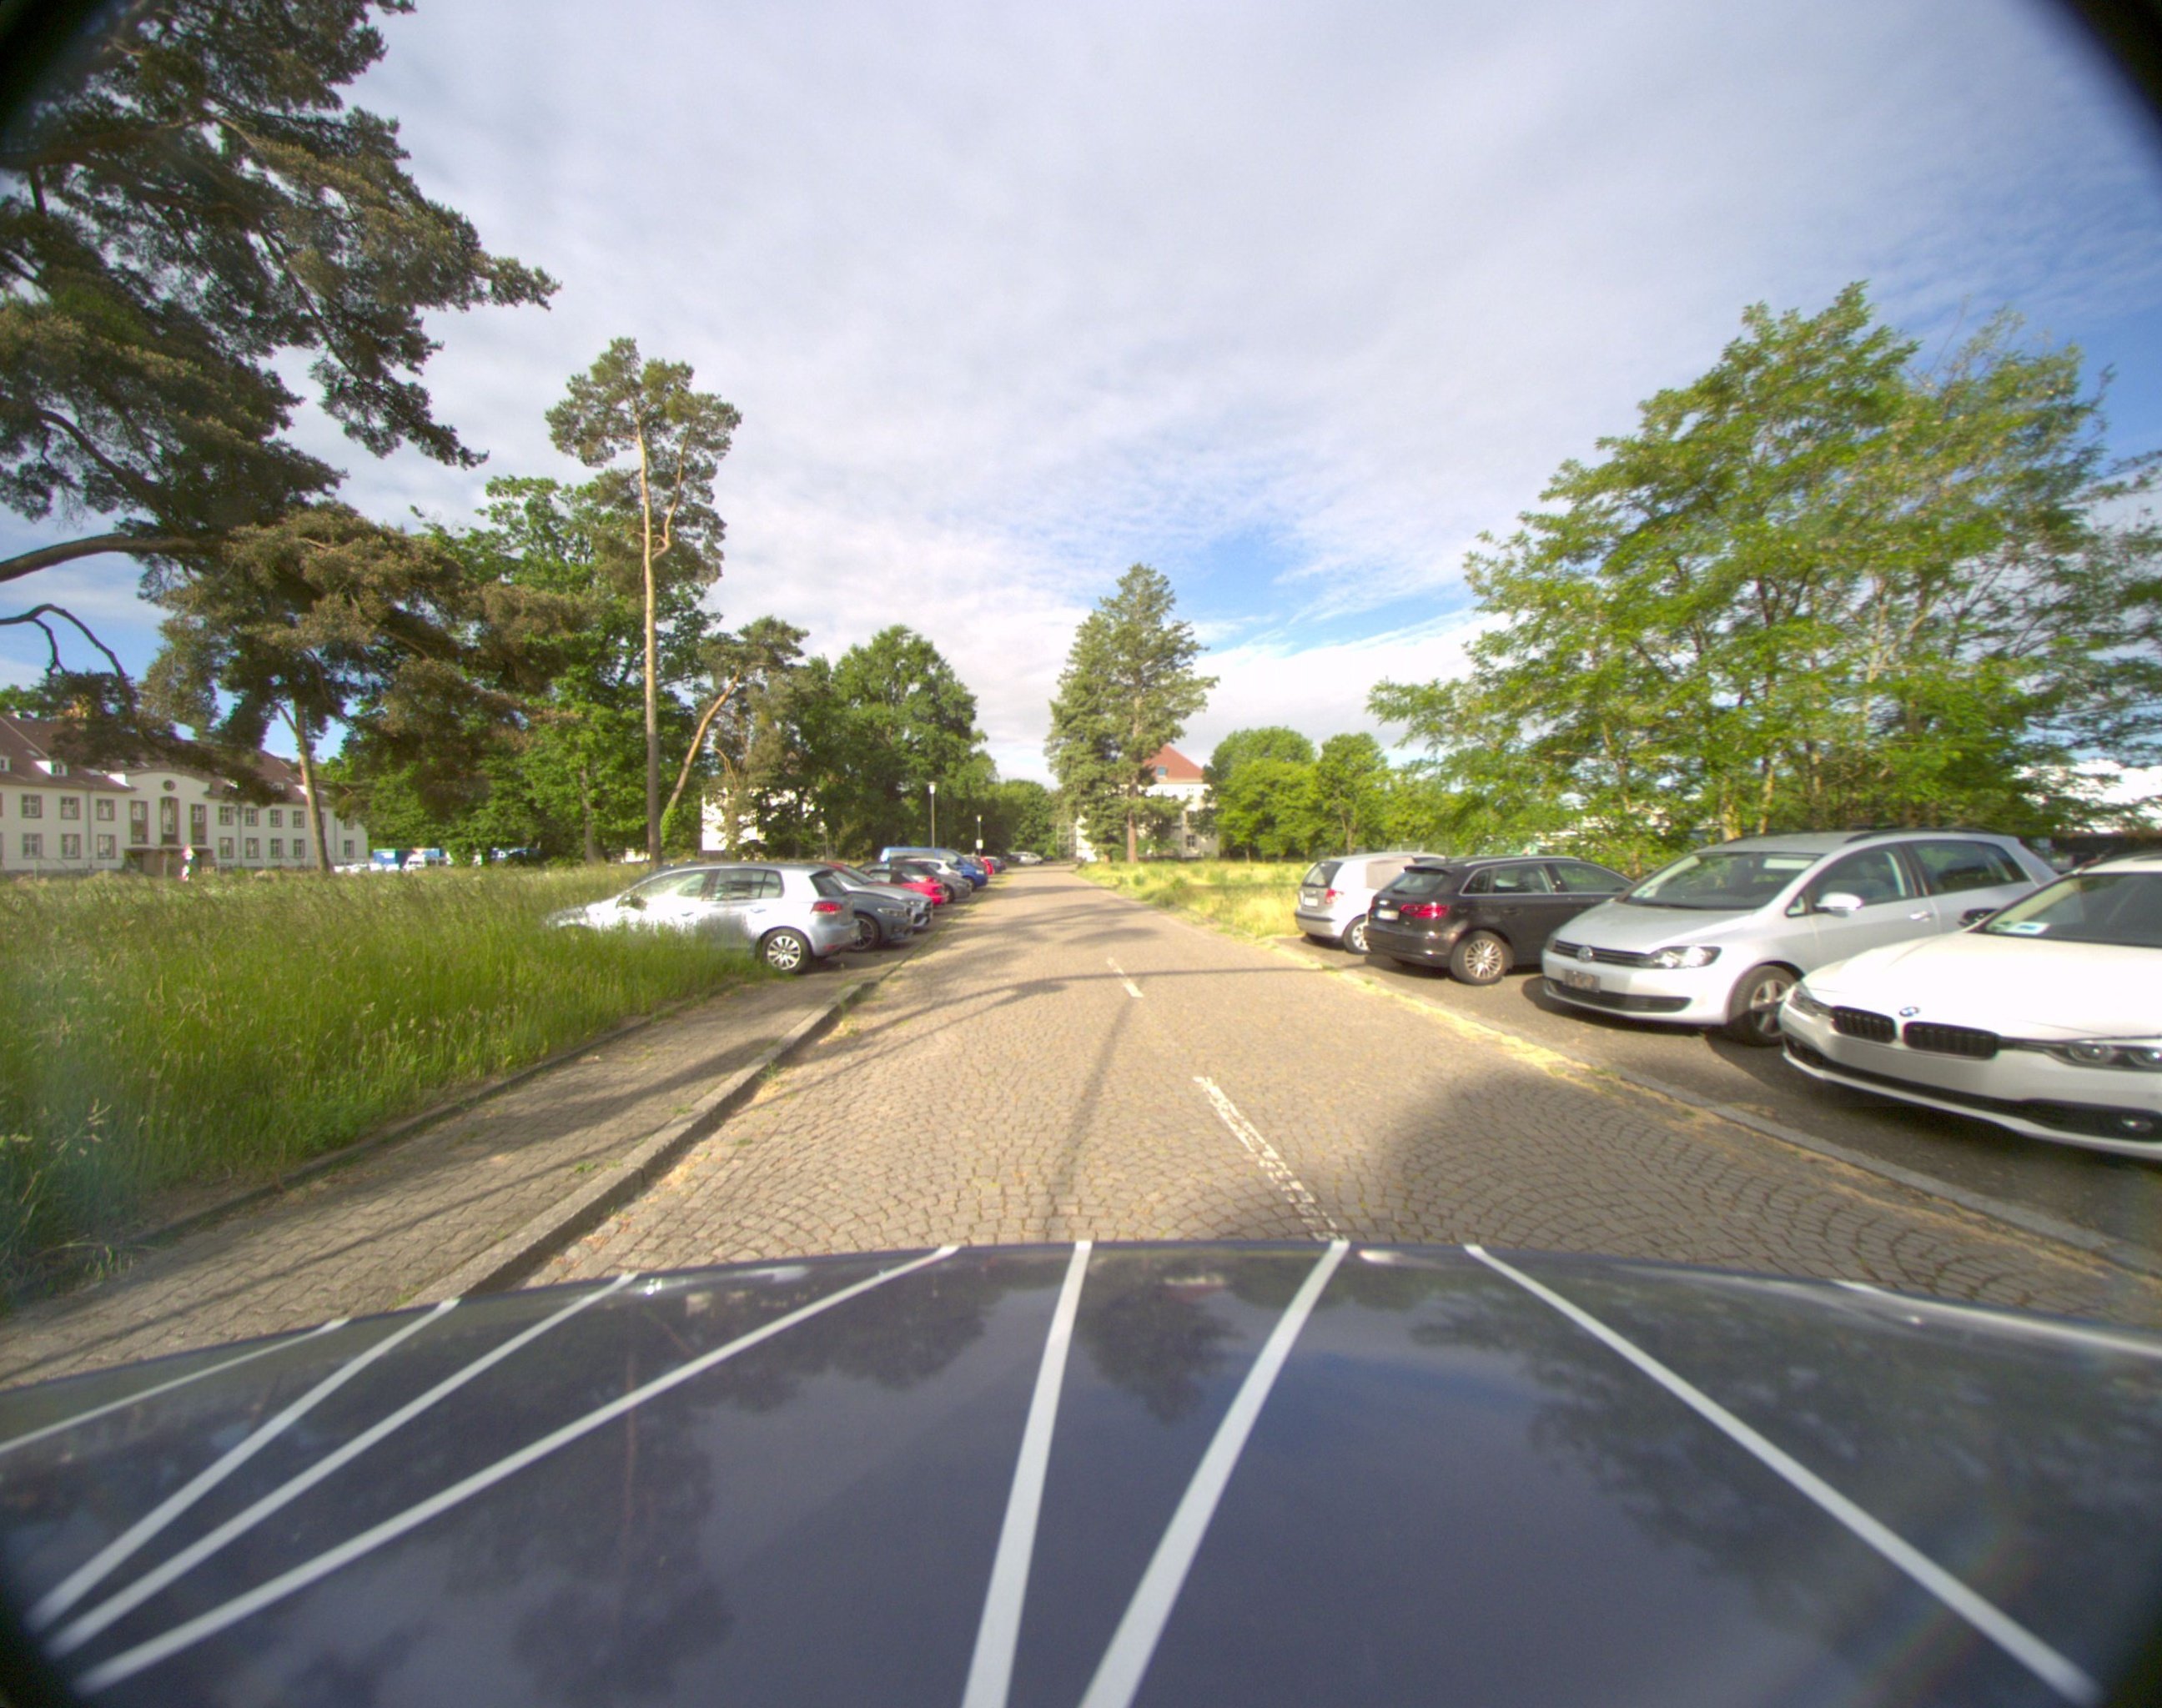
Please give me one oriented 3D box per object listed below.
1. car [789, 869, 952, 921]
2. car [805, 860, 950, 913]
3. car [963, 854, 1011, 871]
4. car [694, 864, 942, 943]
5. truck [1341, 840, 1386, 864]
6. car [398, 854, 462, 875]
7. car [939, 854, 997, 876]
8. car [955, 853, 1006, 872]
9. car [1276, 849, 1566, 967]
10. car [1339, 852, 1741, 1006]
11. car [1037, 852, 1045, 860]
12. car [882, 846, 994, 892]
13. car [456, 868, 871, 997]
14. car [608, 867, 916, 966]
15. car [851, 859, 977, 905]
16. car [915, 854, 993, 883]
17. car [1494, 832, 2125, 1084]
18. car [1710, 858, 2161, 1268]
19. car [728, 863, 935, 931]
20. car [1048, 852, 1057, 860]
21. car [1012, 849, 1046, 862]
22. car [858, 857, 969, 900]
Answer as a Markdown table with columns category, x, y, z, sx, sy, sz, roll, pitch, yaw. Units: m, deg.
| category | x | y | z | sx | sy | sz | roll | pitch | yaw |
| --- | --- | --- | --- | --- | --- | --- | --- | --- | --- |
| car | -5.558 | 1.073 | 20.446 | 3.962 | 1.254 | 1.725 | 0 | 1 | -4 |
| car | -6.082 | 0.958 | 23.052 | 3.962 | 1.487 | 1.771 | 0 | 1 | -4 |
| car | -8.411 | 0.768 | 68.226 | 4.037 | 1.442 | 1.782 | 0 | 1 | -2 |
| car | -5.290 | 0.981 | 15.805 | 4.520 | 1.465 | 1.848 | 0 | 1 | -4 |
| truck | 32.324 | -0.246 | 87.170 | 2.418 | 2.572 | 6.957 | -1 | 0 | -1 |
| car | -73.582 | 1.141 | 86.026 | 2.167 | 2.286 | 5.960 | -1 | 0 | -1 |
| car | -7.903 | 0.776 | 53.247 | 3.888 | 1.464 | 1.686 | 0 | 1 | -5 |
| car | -8.389 | 0.684 | 63.519 | 4.137 | 1.560 | 1.745 | 0 | 1 | -4 |
| car | 5.232 | 0.774 | 12.003 | 3.694 | 1.465 | 1.848 | -4 | 1 | -6 |
| car | 5.455 | 0.815 | 9.358 | 3.840 | 1.421 | 1.857 | -4 | 1 | -5 |
| car | -9.699 | 0.413 | 183.417 | 1.875 | 1.888 | 3.998 | -1 | 1 | -4 |
| car | -6.352 | 0.666 | 34.184 | 4.747 | 1.917 | 1.991 | 1 | 1 | -5 |
| car | -5.376 | 0.972 | 10.384 | 4.558 | 1.497 | 1.931 | 0 | 1 | -6 |
| car | -5.207 | 0.989 | 13.027 | 4.521 | 1.465 | 1.893 | 0 | 1 | -8 |
| car | -5.644 | 0.919 | 26.010 | 3.962 | 1.459 | 1.830 | 0 | 1 | -4 |
| car | -7.135 | 0.811 | 43.018 | 4.203 | 1.580 | 1.877 | 0 | 1 | -5 |
| car | 6.191 | 0.733 | 6.708 | 4.134 | 1.591 | 1.857 | -4 | 1 | -8 |
| car | 6.460 | 0.805 | 4.180 | 4.601 | 1.447 | 1.902 | -4 | 0 | -6 |
| car | -5.786 | 0.977 | 18.046 | 4.353 | 1.465 | 1.739 | 0 | 1 | -4 |
| car | -6.991 | 0.432 | 183.827 | 1.999 | 1.762 | 4.107 | -1 | 1 | -4 |
| car | -7.992 | 0.214 | 117.302 | 5.080 | 2.029 | 1.999 | -1 | 0 | -4 |
| car | -6.287 | 0.912 | 28.829 | 3.885 | 1.521 | 1.807 | 0 | 1 | -4 |
